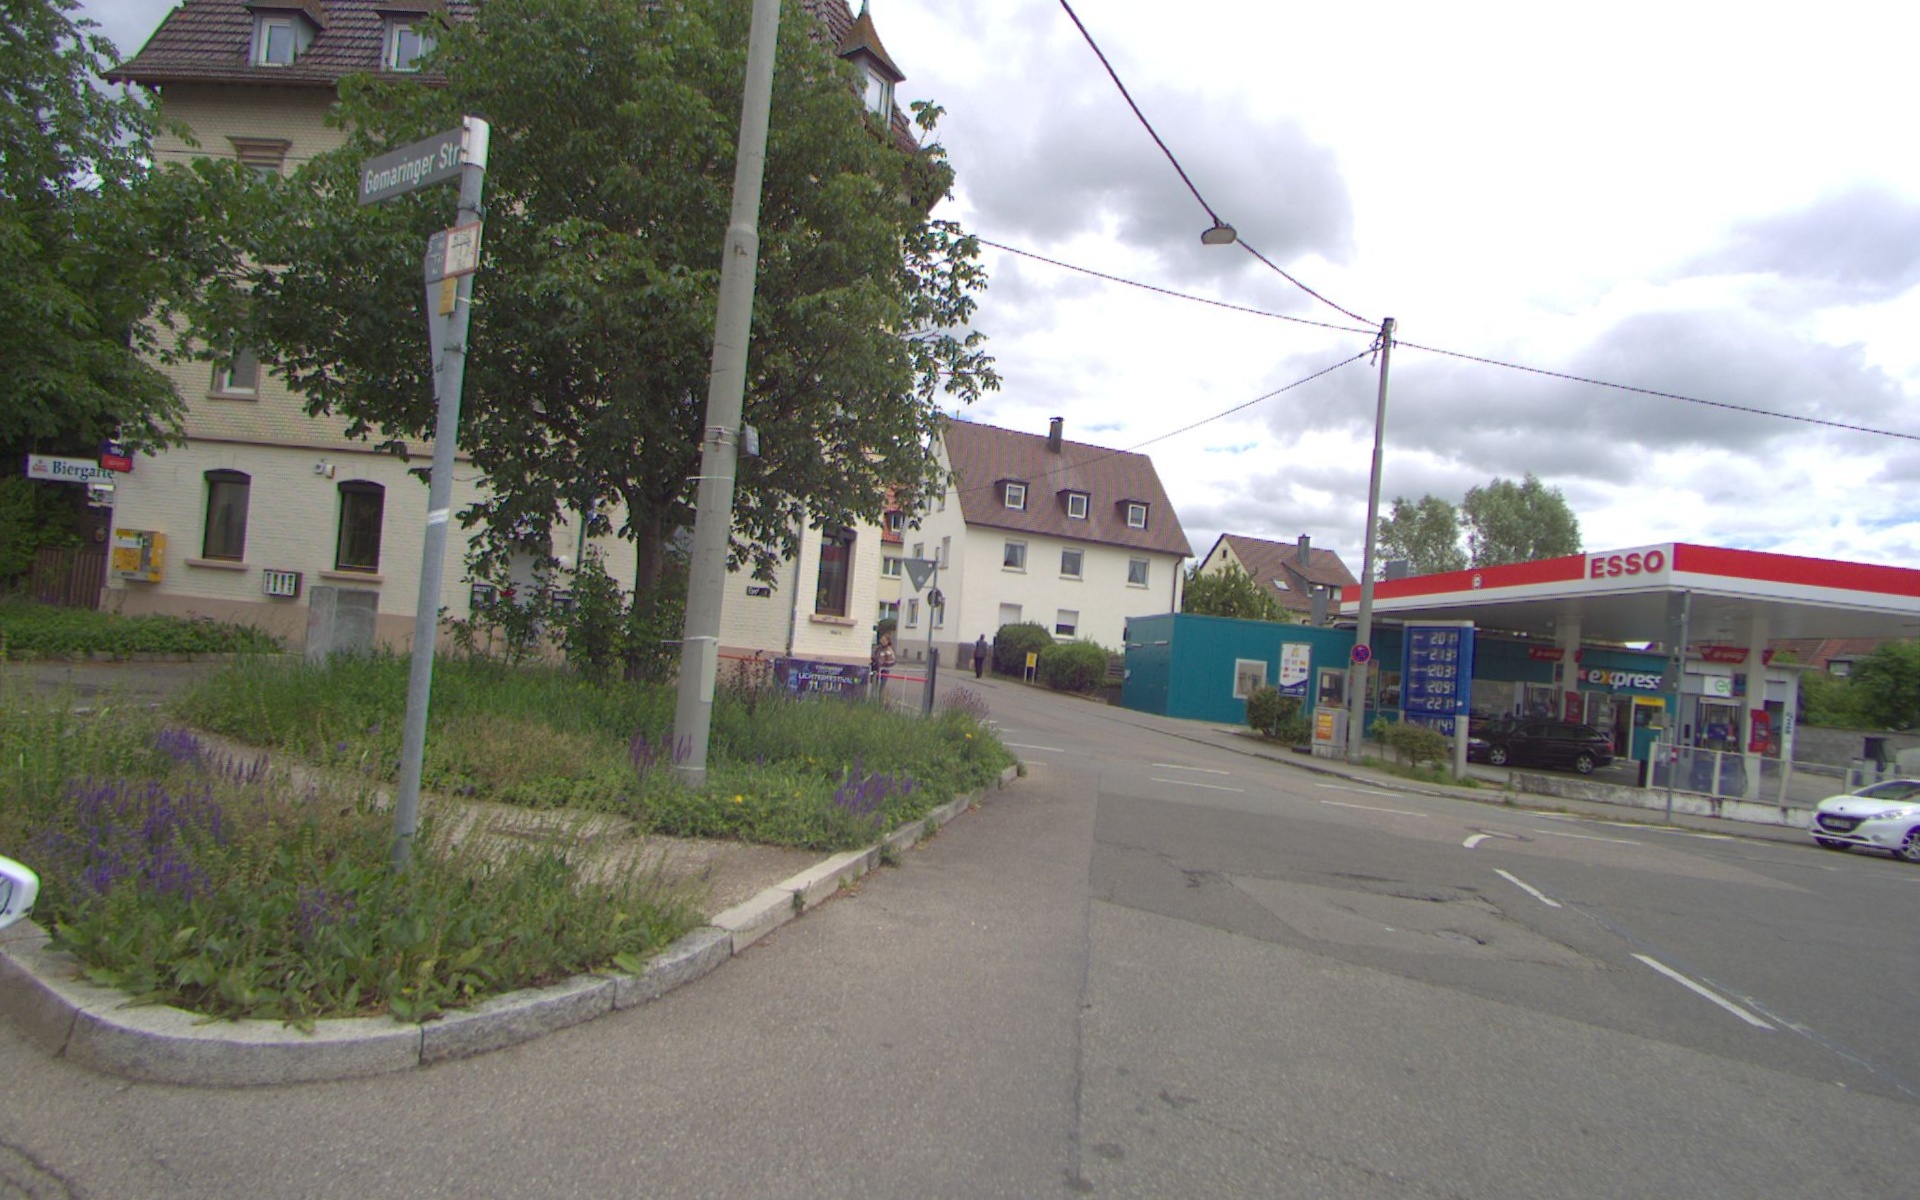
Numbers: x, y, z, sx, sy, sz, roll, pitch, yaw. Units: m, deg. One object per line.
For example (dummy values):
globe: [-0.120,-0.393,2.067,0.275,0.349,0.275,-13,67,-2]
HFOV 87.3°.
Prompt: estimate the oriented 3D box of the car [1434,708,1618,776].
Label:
car: [16.925,4.244,30.216,4.402,1.479,1.924,6,-2,-4]

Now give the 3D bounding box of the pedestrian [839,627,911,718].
pedestrian: [-1.783,1.543,21.228,0.847,1.751,1.021,6,-3,33]

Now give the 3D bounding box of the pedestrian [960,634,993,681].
pedestrian: [0.682,2.336,40.965,0.903,1.758,0.742,9,-3,-26]

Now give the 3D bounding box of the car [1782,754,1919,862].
car: [17.492,3.903,18.197,3.763,1.498,1.774,8,0,-5]
